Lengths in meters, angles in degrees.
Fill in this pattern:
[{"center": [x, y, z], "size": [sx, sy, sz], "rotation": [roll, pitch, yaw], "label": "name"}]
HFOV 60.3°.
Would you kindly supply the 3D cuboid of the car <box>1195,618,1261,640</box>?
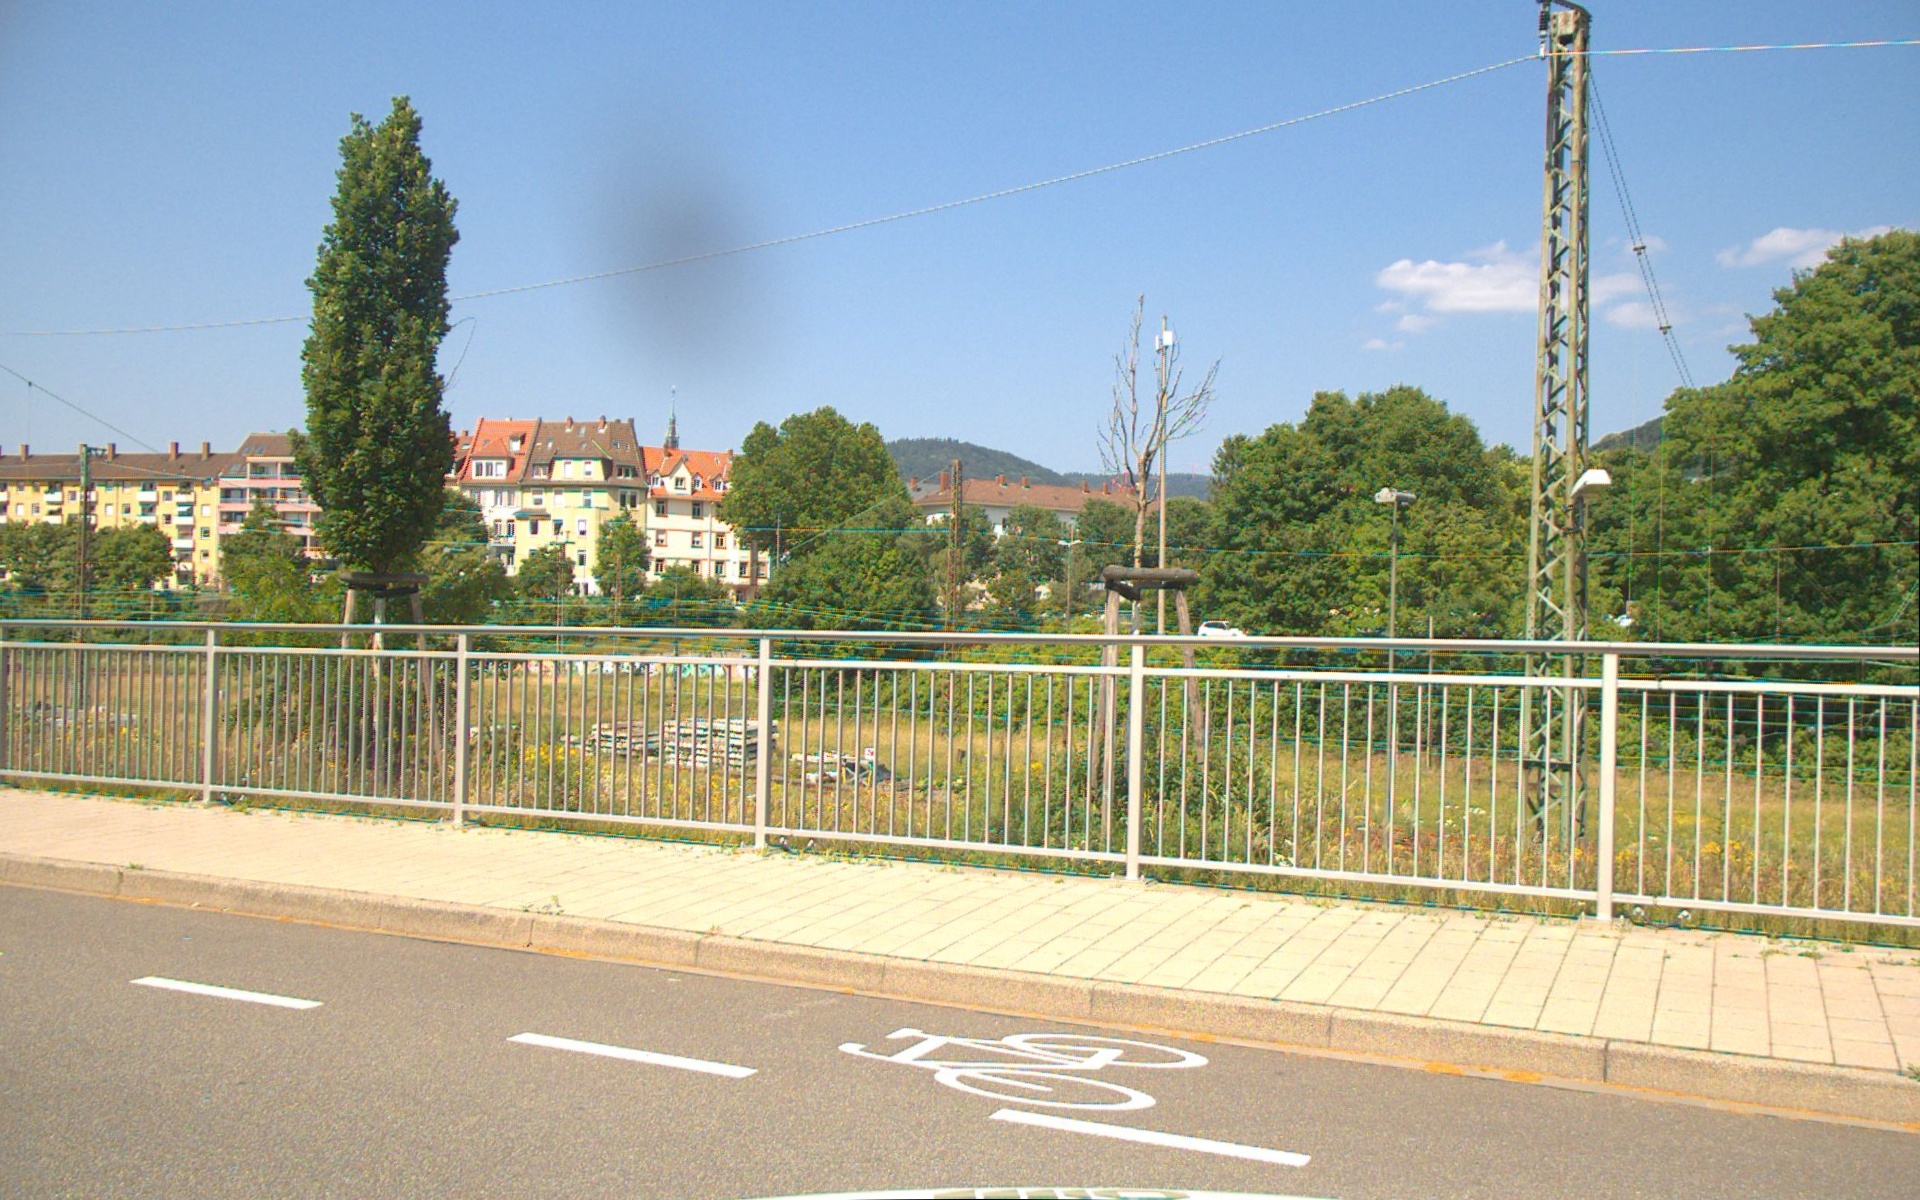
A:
[{"center": [17.678, 1.904, 109.231], "size": [1.844, 1.391, 4.263], "rotation": [1, -1, -35], "label": "car"}]
